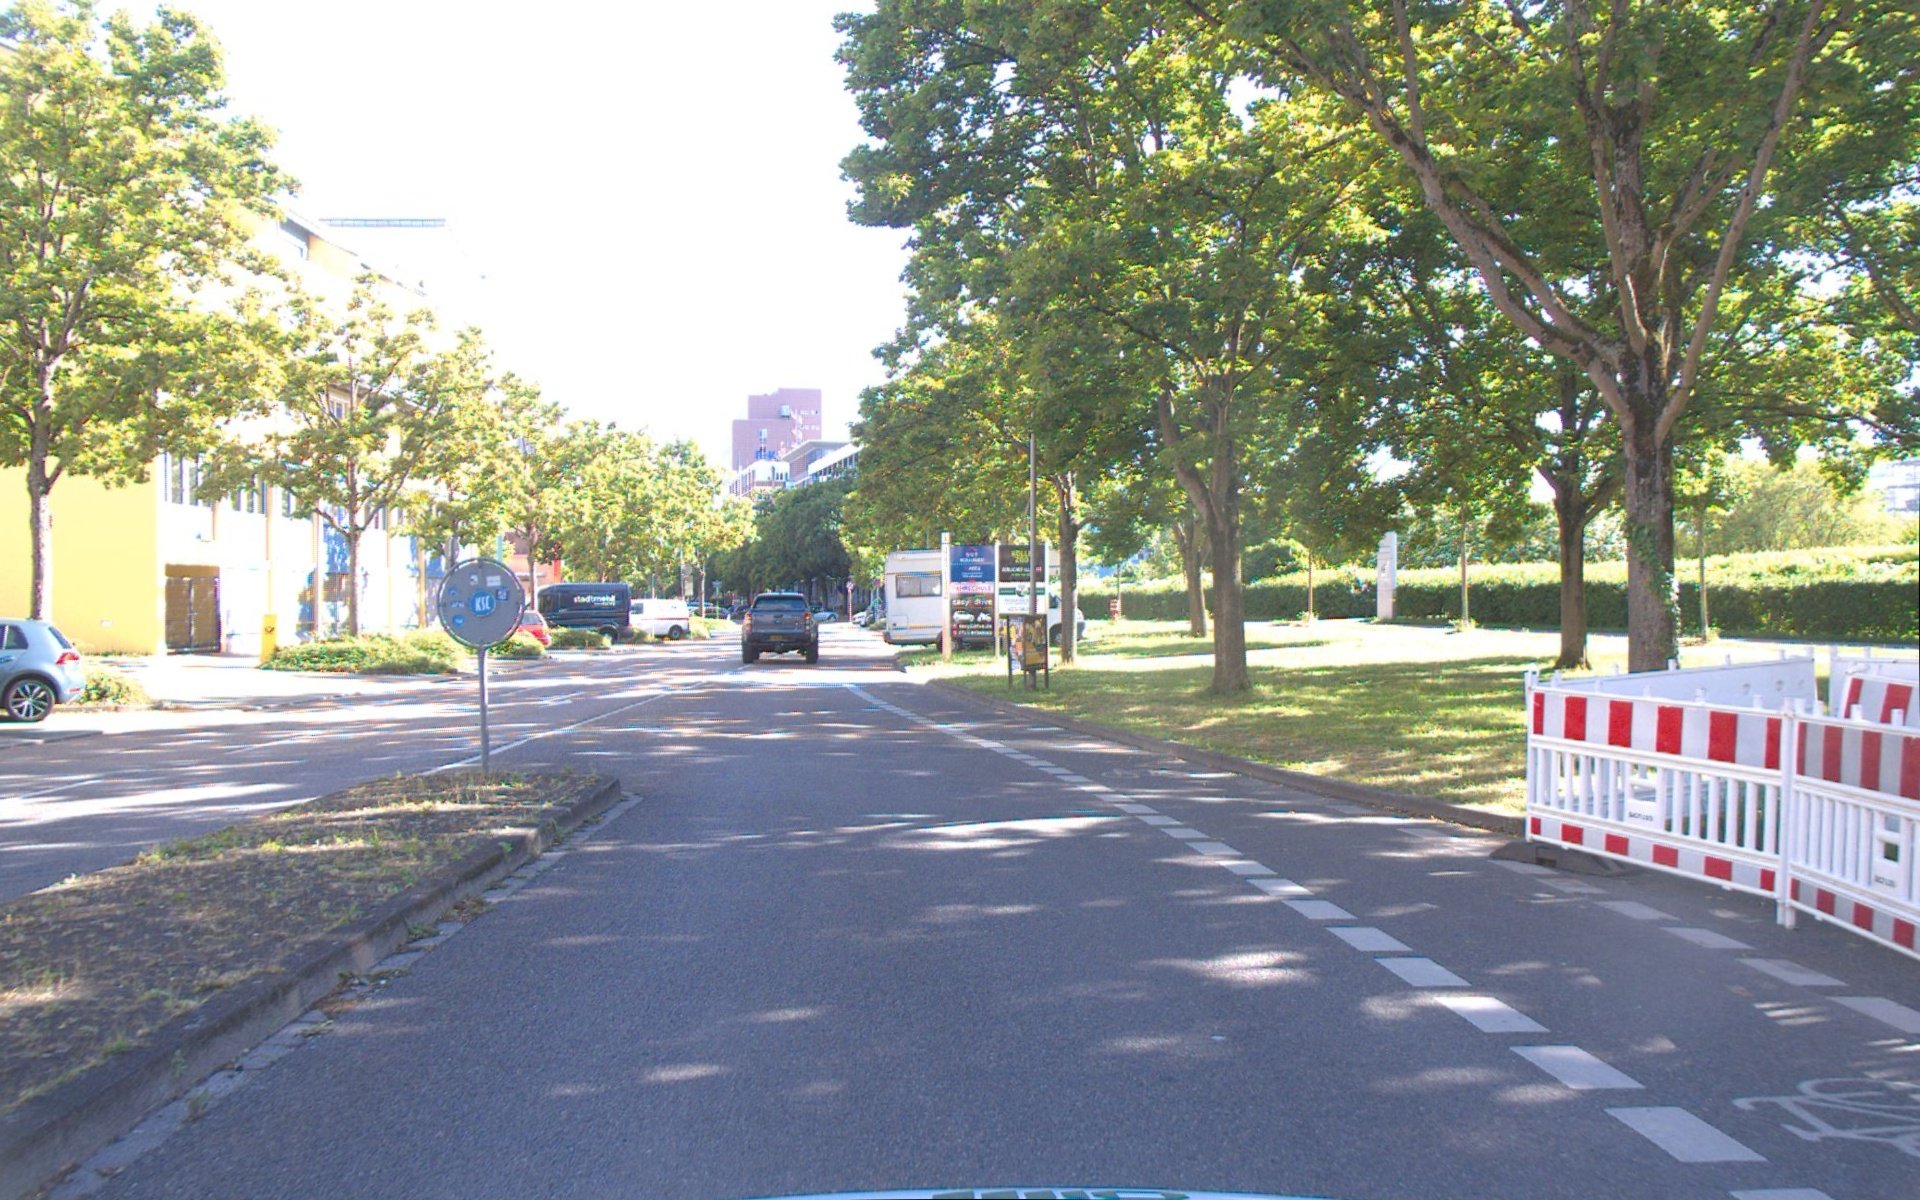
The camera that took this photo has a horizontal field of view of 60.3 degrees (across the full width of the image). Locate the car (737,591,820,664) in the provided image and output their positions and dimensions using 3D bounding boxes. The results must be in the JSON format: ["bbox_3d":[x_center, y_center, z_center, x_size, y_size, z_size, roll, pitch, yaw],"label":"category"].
[{"bbox_3d":[-5.015,0.701,45.154,2.093,1.867,4.931,-1,0,-8],"label":"car"}]

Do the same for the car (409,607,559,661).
[{"bbox_3d":[-15.293,1.066,53.185,4.356,1.579,1.904,-1,0,-28],"label":"car"}]

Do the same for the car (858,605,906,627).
[{"bbox_3d":[-5.421,1.099,114.702,3.180,1.299,1.515,-3,0,-4],"label":"car"}]

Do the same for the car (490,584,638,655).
[{"bbox_3d":[-15.269,0.737,63.849,5.201,2.590,1.967,-1,0,-28],"label":"car"}]

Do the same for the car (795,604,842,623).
[{"bbox_3d":[-12.332,1.198,144.466,3.877,1.421,1.512,-3,0,-12],"label":"car"}]

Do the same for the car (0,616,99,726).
[{"bbox_3d":[-14.554,1.015,23.620,3.840,1.536,1.806,0,-1,-34],"label":"car"}]

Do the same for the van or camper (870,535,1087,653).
[{"bbox_3d":[0.458,-0.171,47.694,5.959,2.979,2.573,-3,0,-4],"label":"van or camper"}]

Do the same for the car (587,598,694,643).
[{"bbox_3d":[-15.839,1.005,82.054,4.849,2.119,1.959,-1,0,-38],"label":"car"}]

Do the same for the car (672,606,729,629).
[{"bbox_3d":[-18.189,1.242,115.859,3.815,1.389,1.406,-3,0,-12],"label":"car"}]

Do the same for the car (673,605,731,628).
[{"bbox_3d":[-17.812,1.150,114.129,3.815,1.389,1.406,-3,0,-12],"label":"car"}]
